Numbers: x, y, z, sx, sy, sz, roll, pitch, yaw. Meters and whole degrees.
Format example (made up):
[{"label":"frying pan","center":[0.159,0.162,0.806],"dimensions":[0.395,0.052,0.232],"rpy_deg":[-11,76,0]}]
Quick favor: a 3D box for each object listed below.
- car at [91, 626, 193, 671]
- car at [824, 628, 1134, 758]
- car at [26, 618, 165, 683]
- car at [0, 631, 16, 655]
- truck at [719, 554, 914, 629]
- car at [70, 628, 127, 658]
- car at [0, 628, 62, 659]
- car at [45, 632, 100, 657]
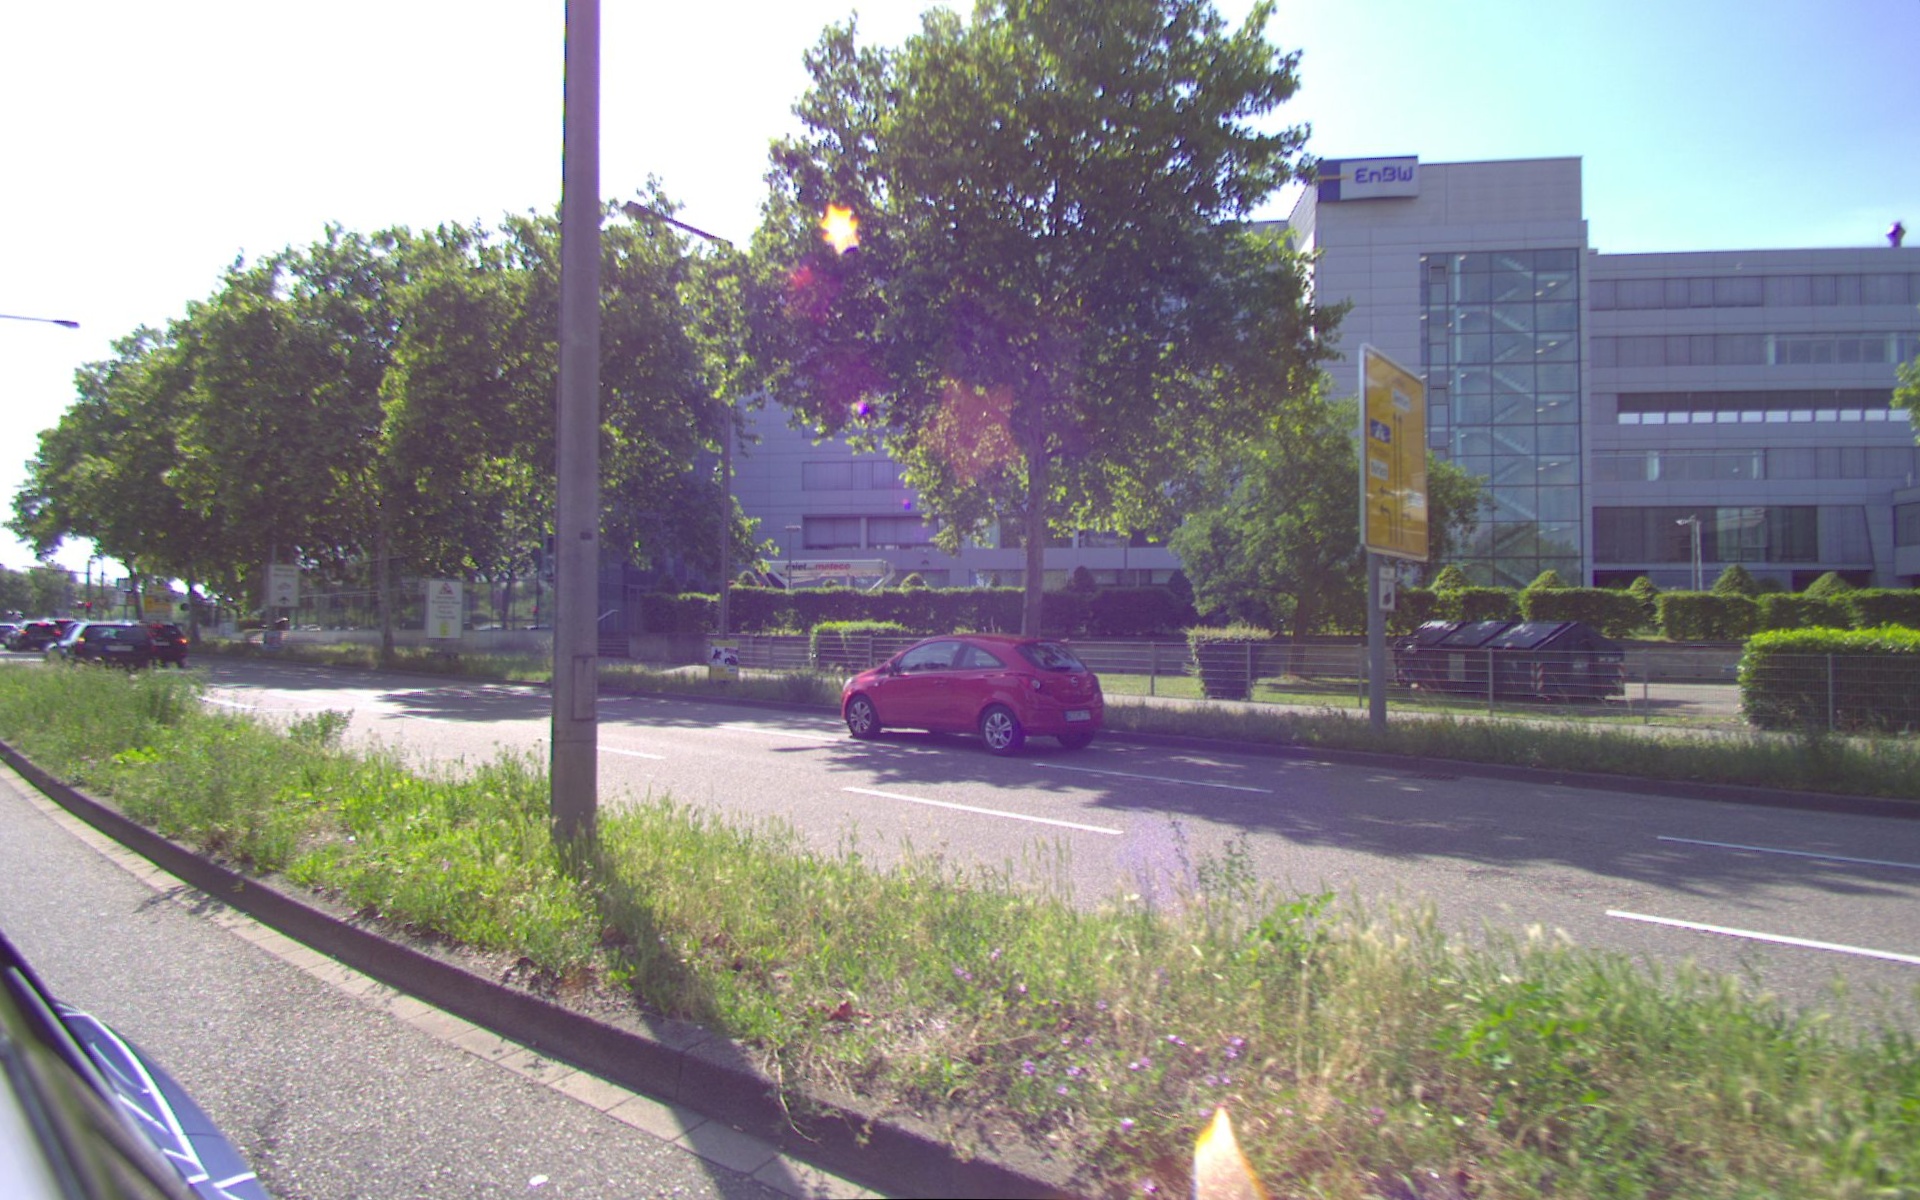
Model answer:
[{"label":"car","center":[-28.729,1.659,35.485],"dimensions":[4.983,1.479,1.809],"rpy_deg":[-1,-3,40]},{"label":"car","center":[0.145,1.139,13.508],"dimensions":[4.000,1.473,1.744],"rpy_deg":[-2,-4,43]},{"label":"car","center":[-21.693,1.234,25.343],"dimensions":[4.665,1.479,1.755],"rpy_deg":[-1,-3,39]},{"label":"car","center":[-62.615,2.792,65.503],"dimensions":[3.955,1.487,1.743],"rpy_deg":[-2,-3,41]},{"label":"truck","center":[-6.729,-0.348,48.115],"dimensions":[8.876,3.421,2.669],"rpy_deg":[0,-2,5]},{"label":"car","center":[-49.378,2.469,57.975],"dimensions":[4.444,1.603,1.867],"rpy_deg":[-2,-4,42]},{"label":"car","center":[-49.494,2.326,53.834],"dimensions":[4.493,1.623,1.973],"rpy_deg":[-2,-4,41]},{"label":"car","center":[-54.629,2.729,62.267],"dimensions":[5.002,1.460,1.871],"rpy_deg":[-2,-4,42]}]
